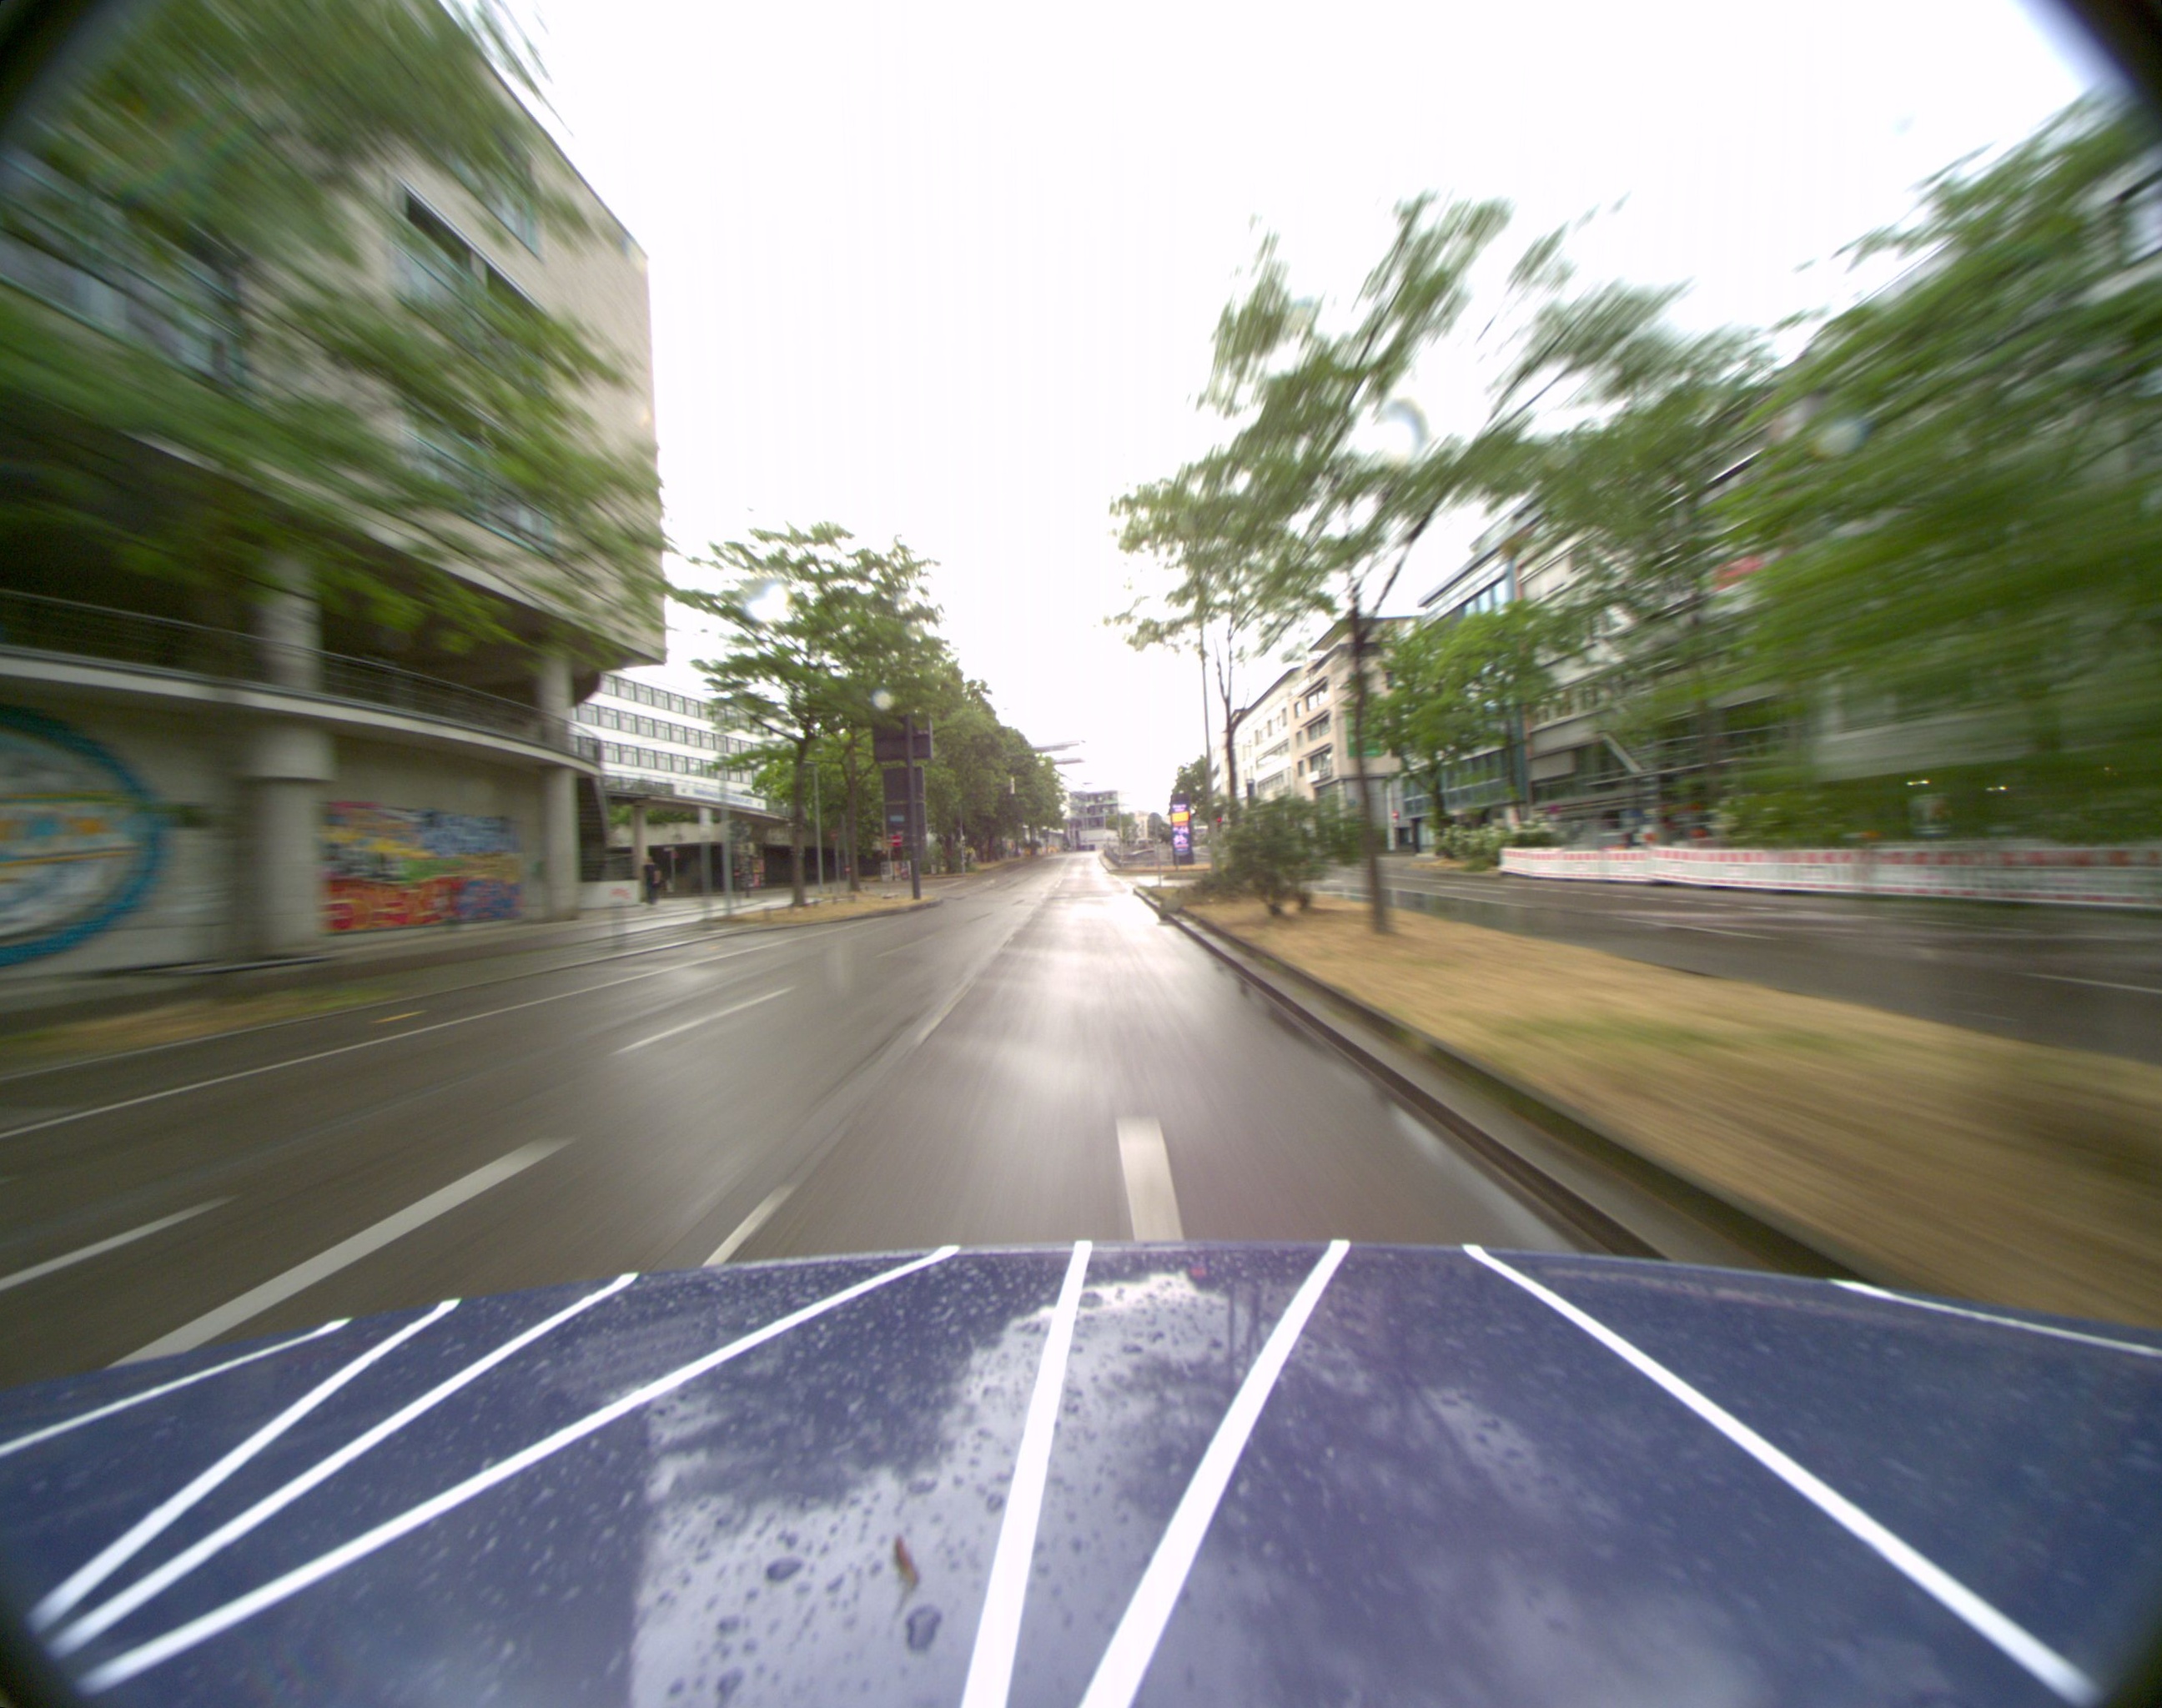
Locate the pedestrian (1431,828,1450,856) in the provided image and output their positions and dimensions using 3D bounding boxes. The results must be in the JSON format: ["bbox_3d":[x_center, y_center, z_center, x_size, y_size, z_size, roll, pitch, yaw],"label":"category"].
[{"bbox_3d":[22.626,-0.735,47.837,0.740,1.704,0.757,-3,1,0],"label":"pedestrian"}]

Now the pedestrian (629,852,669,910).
[{"bbox_3d":[-15.387,0.936,27.104,0.871,2.002,0.758,-3,1,0],"label":"pedestrian"}]
